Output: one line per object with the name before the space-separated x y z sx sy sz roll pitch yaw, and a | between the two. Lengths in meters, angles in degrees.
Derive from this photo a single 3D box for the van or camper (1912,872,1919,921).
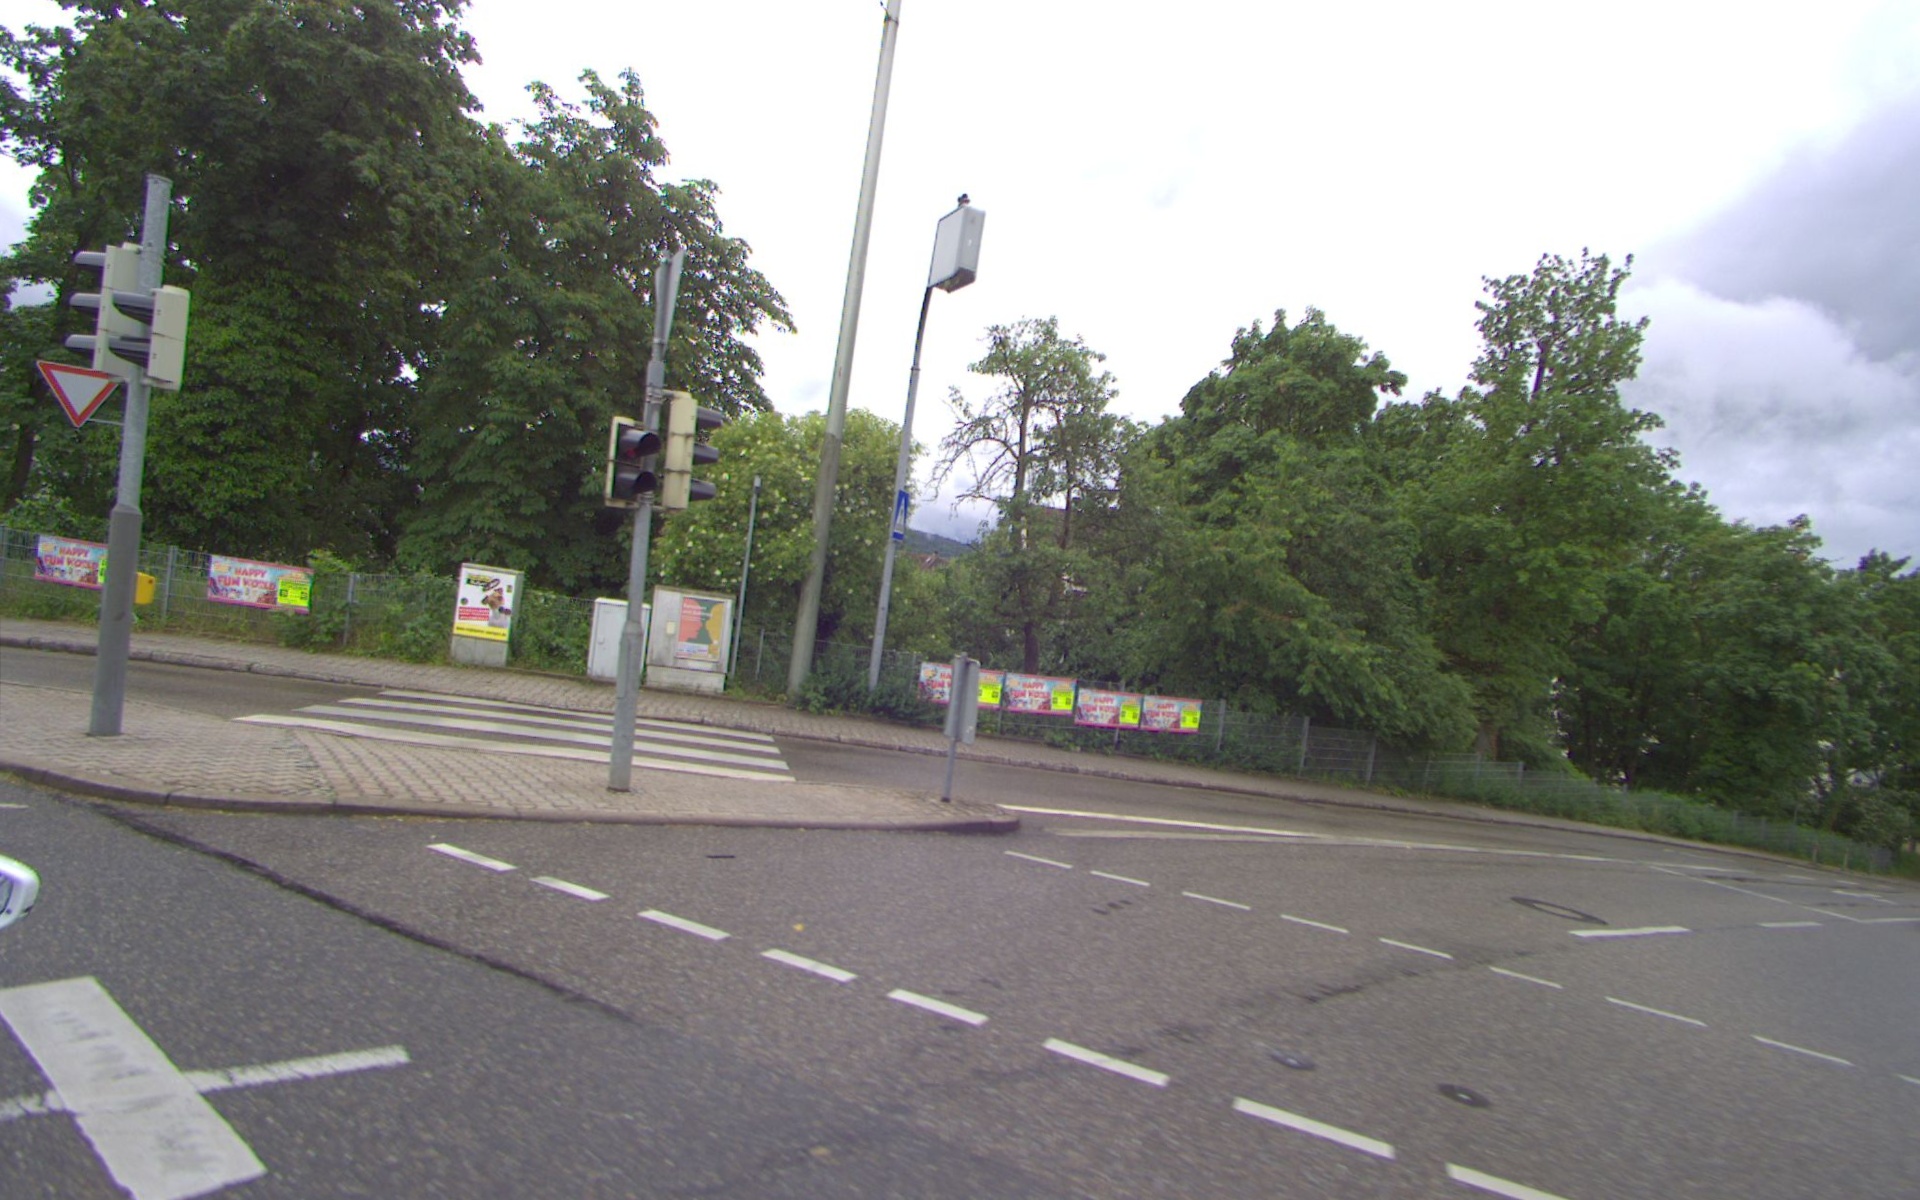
van or camper | 20.150 5.222 18.977 5.382 2.350 2.089 14 -2 -36
